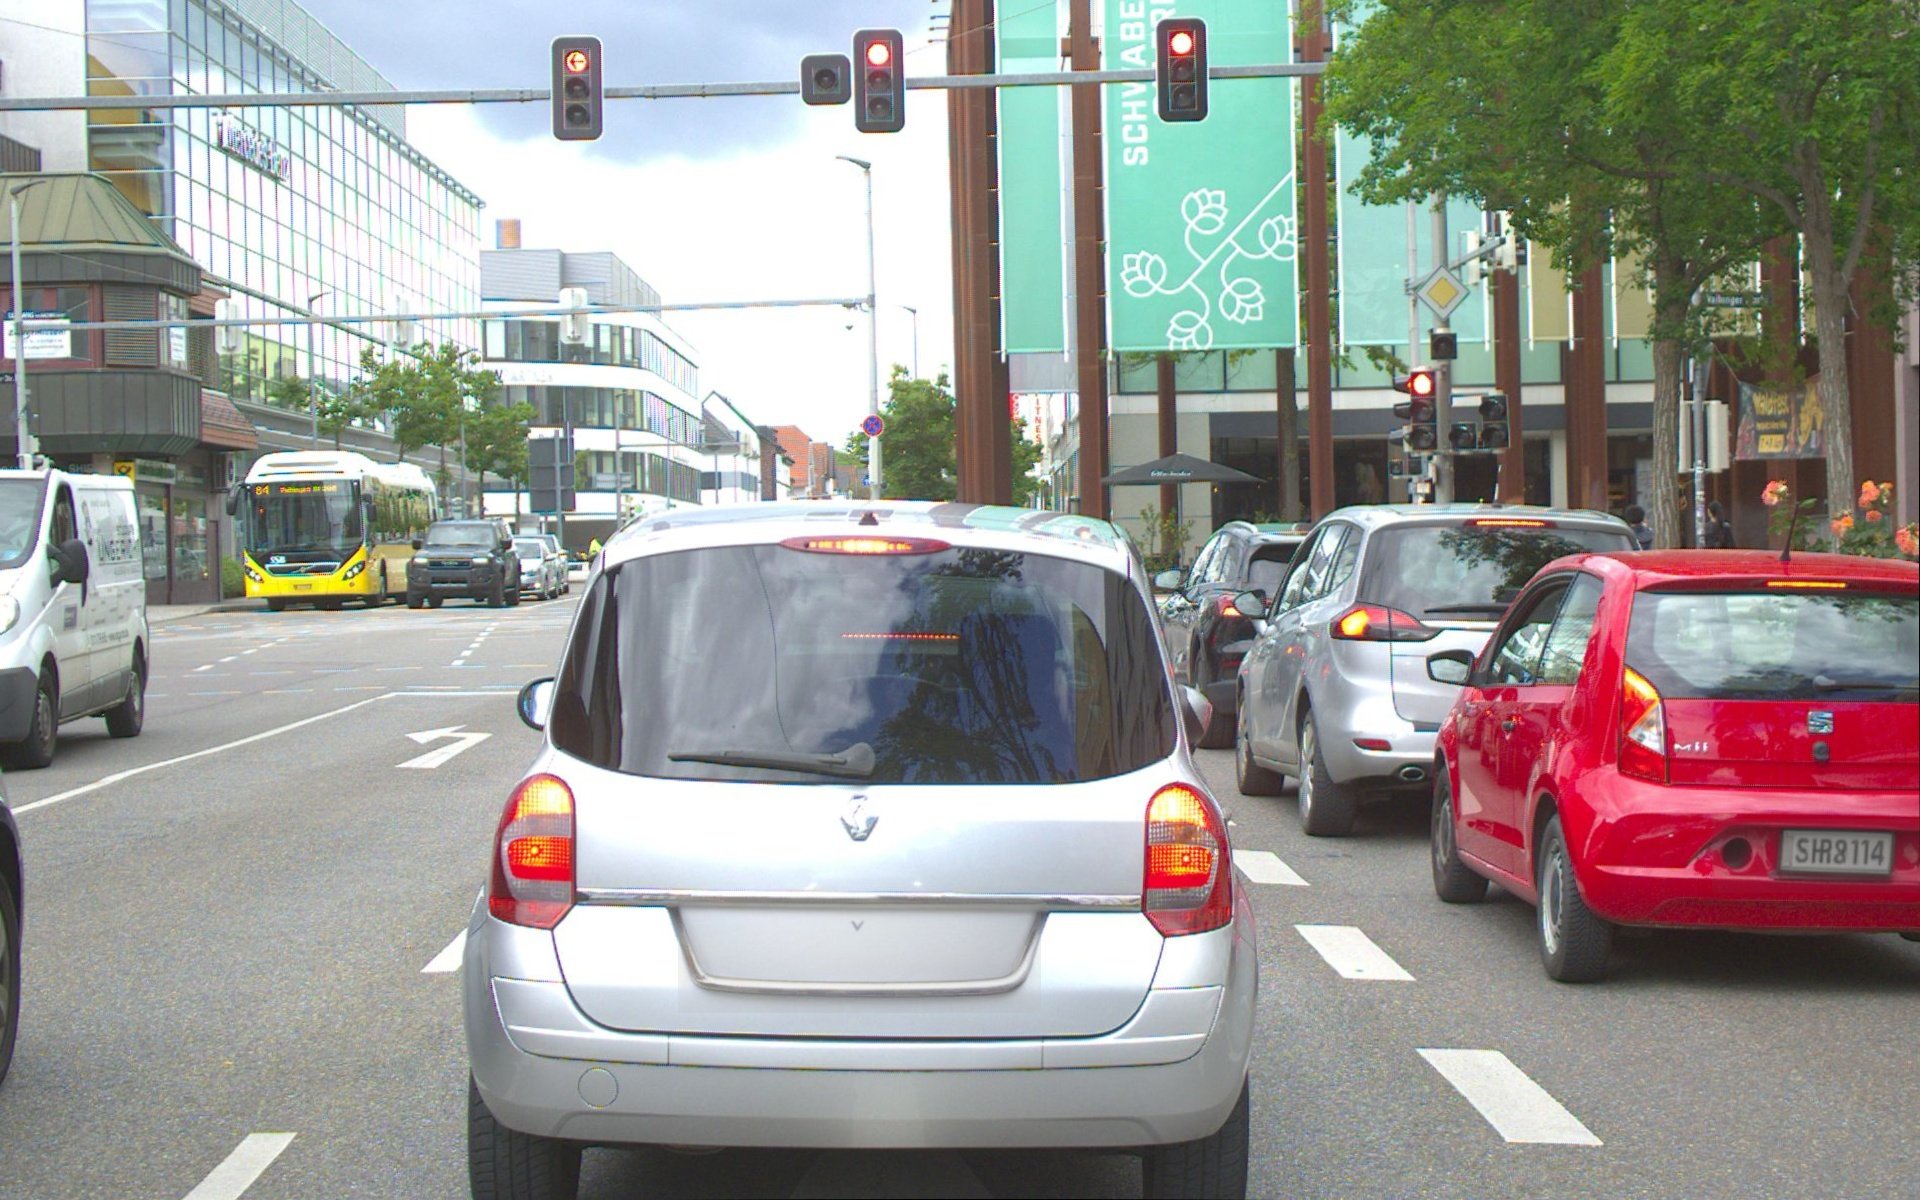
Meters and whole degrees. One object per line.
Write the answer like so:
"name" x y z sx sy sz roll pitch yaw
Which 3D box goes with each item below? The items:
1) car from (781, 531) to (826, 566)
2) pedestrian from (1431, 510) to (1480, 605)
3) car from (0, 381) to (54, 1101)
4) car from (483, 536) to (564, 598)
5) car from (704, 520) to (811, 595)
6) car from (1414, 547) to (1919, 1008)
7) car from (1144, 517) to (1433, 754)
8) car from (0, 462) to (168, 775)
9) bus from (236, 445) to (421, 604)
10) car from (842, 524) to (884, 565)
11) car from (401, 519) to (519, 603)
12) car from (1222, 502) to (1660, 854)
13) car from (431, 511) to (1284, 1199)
"car" -7.167 -2.361 157.448 1.801 1.535 4.065 0 1 1
"pedestrian" 8.722 -0.751 60.526 0.651 1.645 0.559 -1 1 -15
"car" -3.281 0.393 7.018 1.744 1.849 4.634 1 1 -2
"car" -10.147 -0.780 80.024 1.555 1.387 3.288 -1 1 -2
"car" -4.655 -1.004 79.599 1.917 1.671 4.242 0 1 4
"car" 2.719 0.548 12.679 1.586 1.438 3.348 1 1 -1
"car" 2.341 0.202 25.362 1.586 1.589 3.869 1 1 -2
"car" -6.837 0.088 23.267 1.993 1.881 5.159 -2 1 -4
"bus" -13.674 -1.655 75.101 2.686 3.250 8.654 -1 1 -2
"car" -4.808 -2.759 170.022 1.993 1.942 4.951 -1 1 -2
"car" -10.501 -0.849 72.442 1.993 1.700 4.065 -1 1 -2
"car" 2.413 0.326 18.127 1.586 1.628 3.917 1 1 -2
"car" -0.225 0.558 8.347 1.640 1.522 3.394 0 1 -1
